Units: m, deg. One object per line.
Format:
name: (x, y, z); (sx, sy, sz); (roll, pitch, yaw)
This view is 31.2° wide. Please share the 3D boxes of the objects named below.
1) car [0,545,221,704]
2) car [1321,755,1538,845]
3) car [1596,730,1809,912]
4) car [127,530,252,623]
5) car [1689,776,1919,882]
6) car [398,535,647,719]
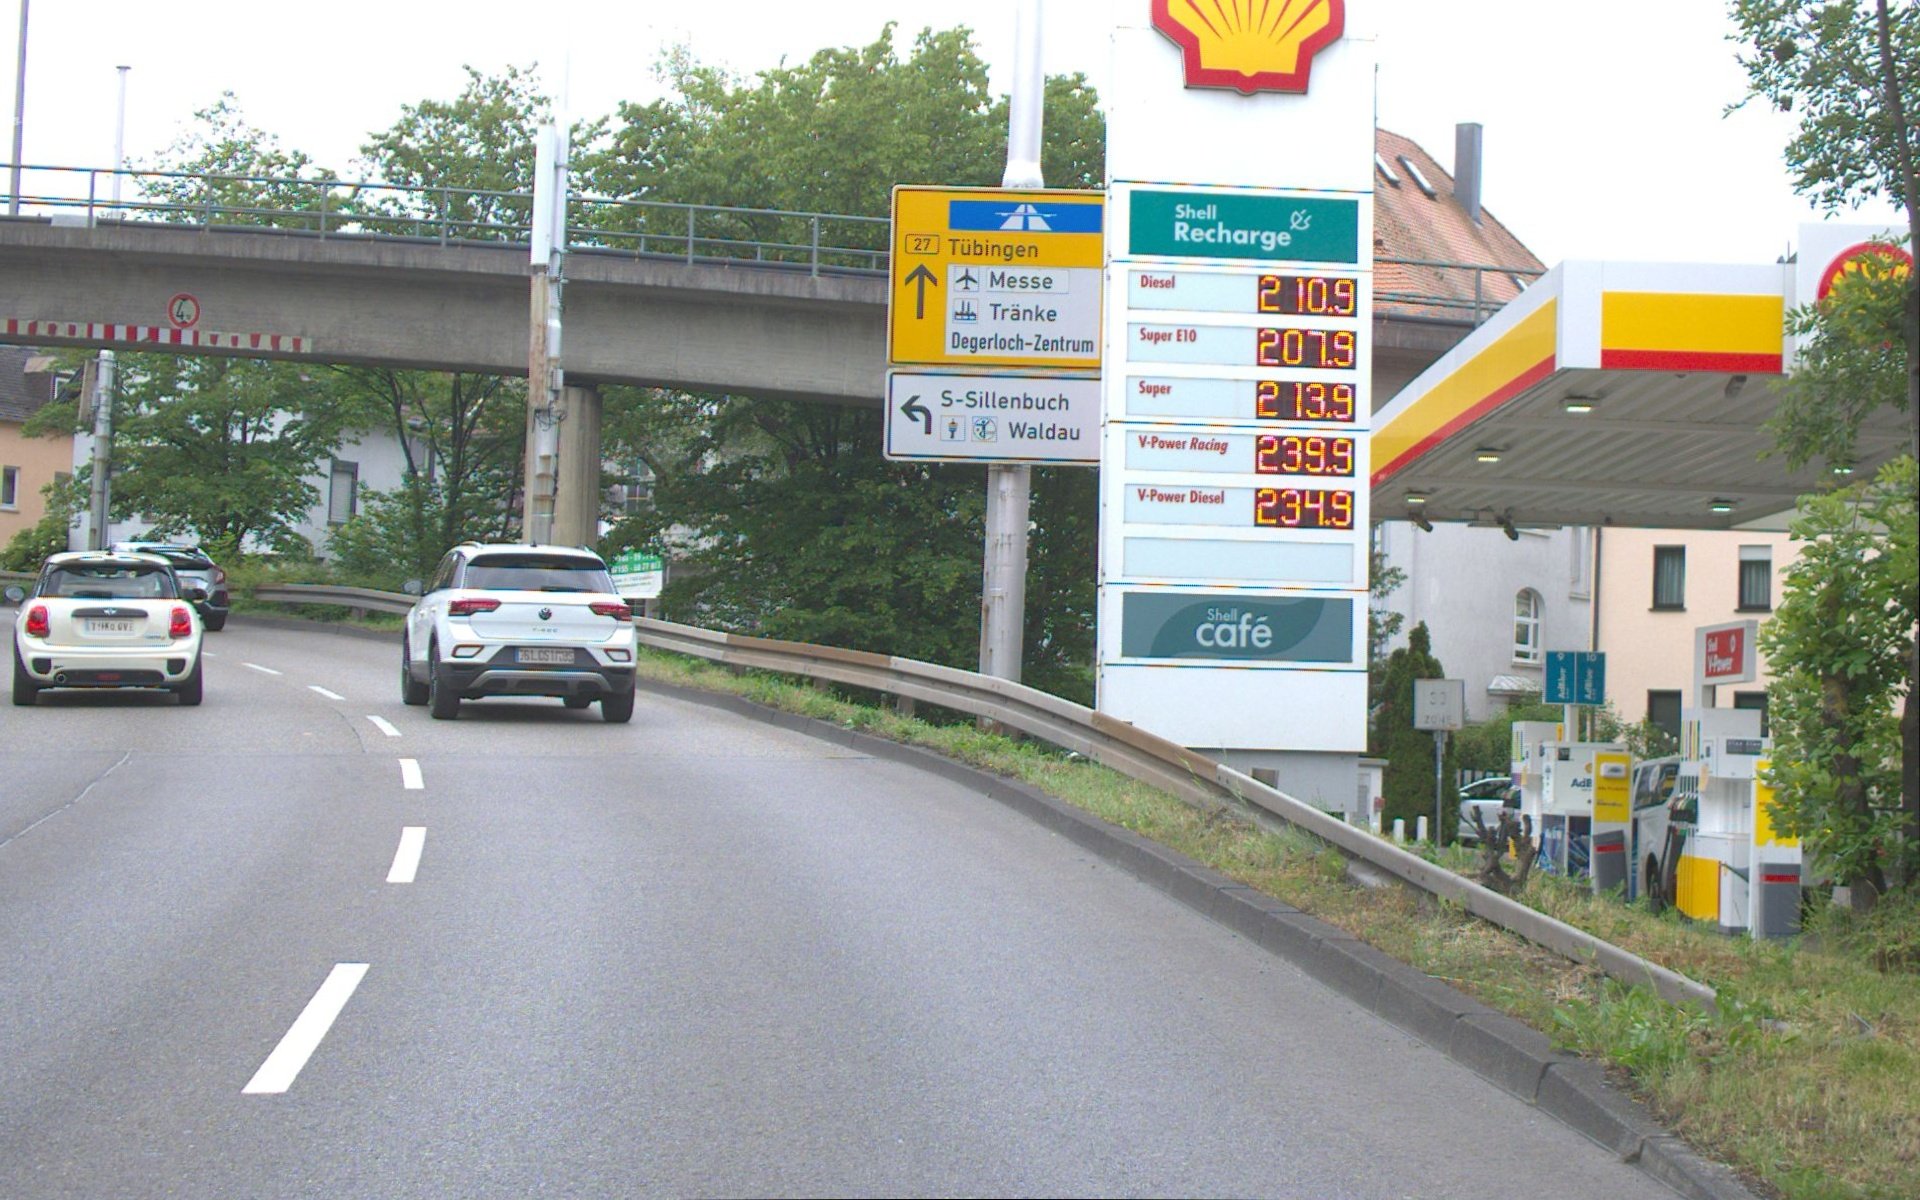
car: (-8.034, 0.198, 32.735); (1.722, 1.371, 3.457); (2, 1, -9)
car: (9.201, 3.918, 67.407); (3.765, 1.390, 1.648); (4, -2, 32)
car: (8.785, 2.606, 40.996); (1.735, 2.004, 4.712); (1, -3, 3)
car: (-12.505, -0.397, 55.687); (1.675, 1.404, 3.458); (2, 1, -17)
car: (15.849, 4.221, 63.415); (4.297, 1.516, 1.621); (4, -2, 29)
car: (-4.025, 0.205, 31.197); (1.796, 1.514, 3.458); (2, 1, -14)
